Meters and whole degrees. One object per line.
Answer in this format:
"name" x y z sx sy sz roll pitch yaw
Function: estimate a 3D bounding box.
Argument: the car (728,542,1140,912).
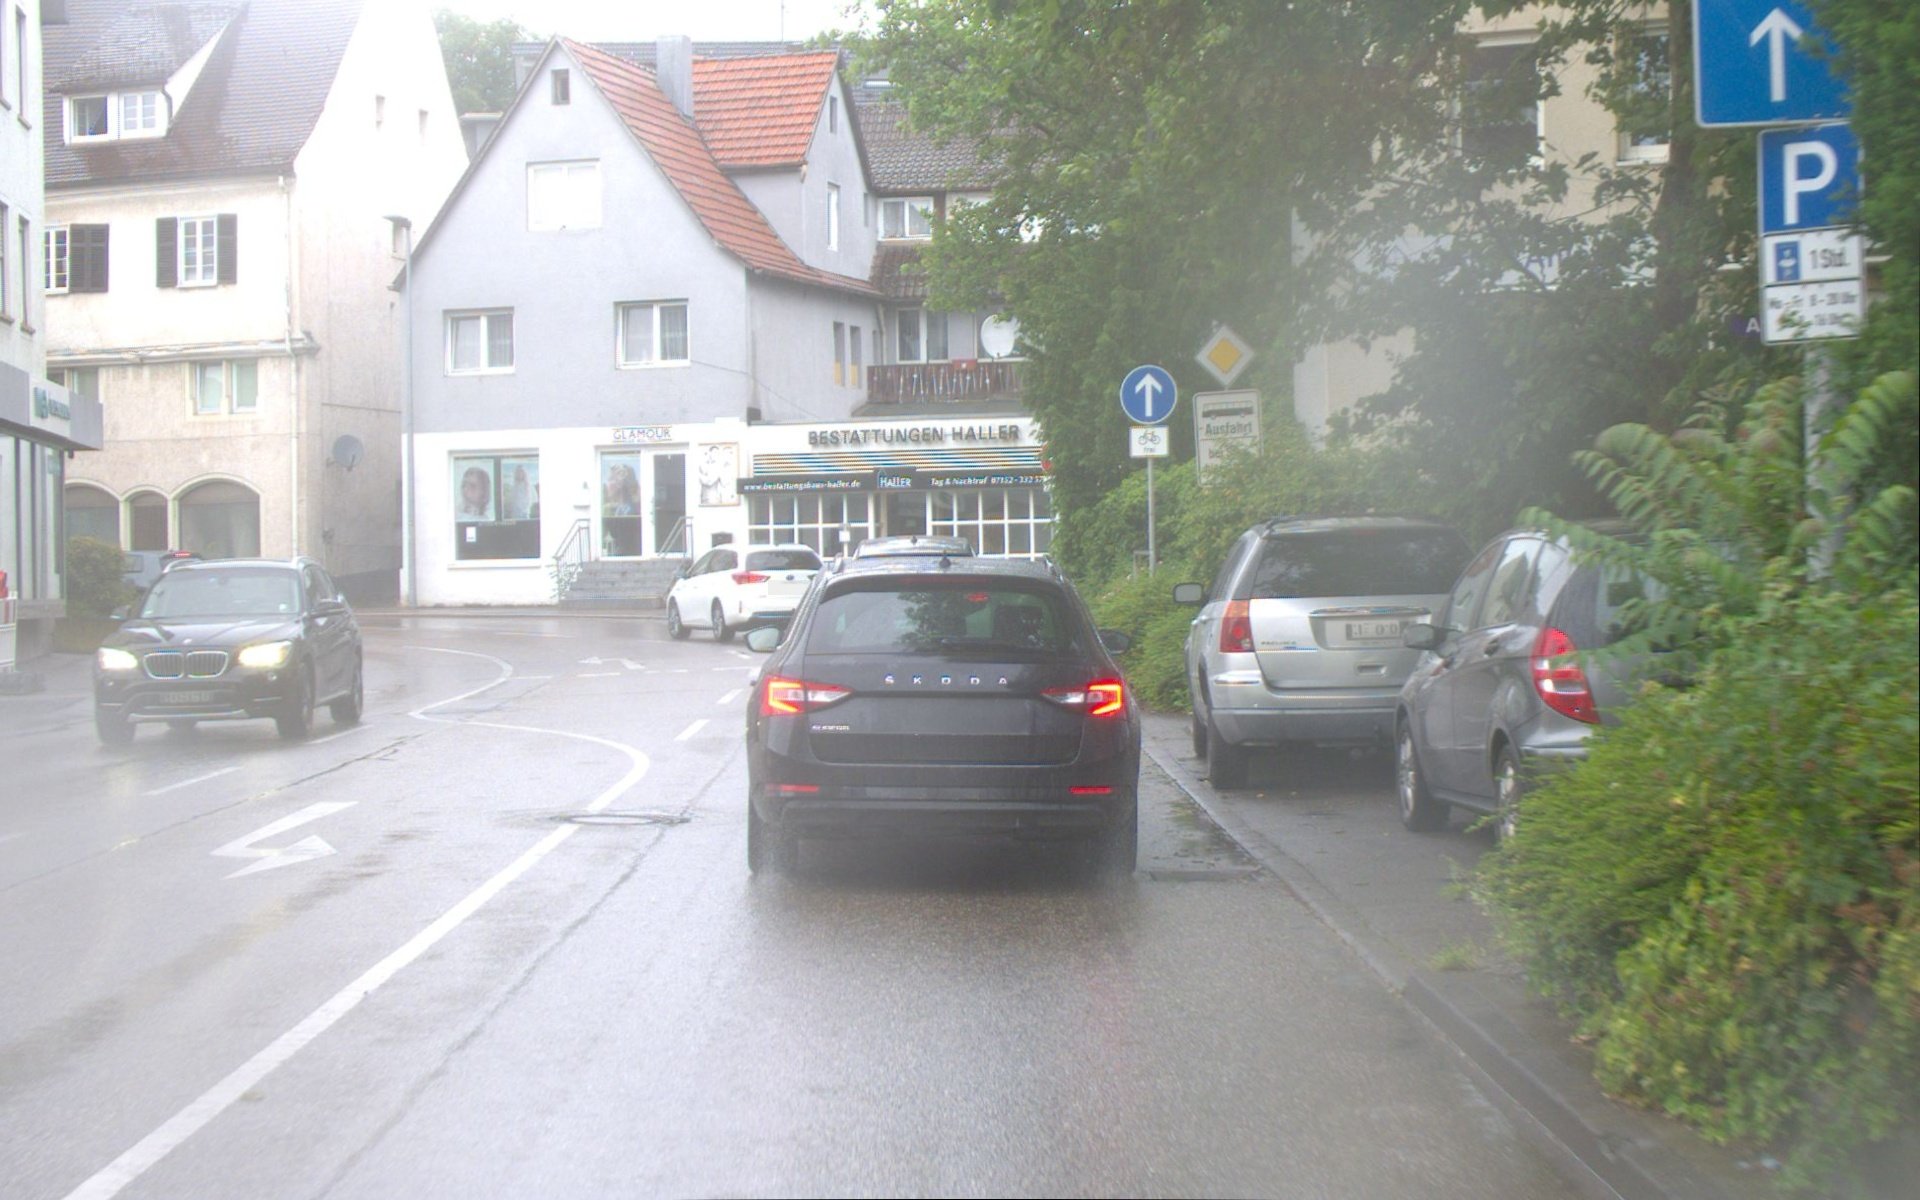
"car" -0.125 0.506 16.790 1.732 1.445 4.242 -1 2 0

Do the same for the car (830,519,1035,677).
"car" -0.236 -0.070 37.441 1.789 1.512 4.241 -2 2 5

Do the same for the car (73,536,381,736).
"car" -6.346 0.253 30.211 1.815 1.566 4.276 -2 1 -1

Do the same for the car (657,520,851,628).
"car" -3.174 -0.429 52.247 1.785 1.460 4.166 -2 3 -20

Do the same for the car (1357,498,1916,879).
"car" 3.115 0.331 16.617 1.709 1.567 3.915 -2 1 -3

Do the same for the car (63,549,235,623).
"car" -16.213 -0.298 68.658 3.765 1.357 1.520 2 4 44

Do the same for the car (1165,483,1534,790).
"car" 2.471 0.160 22.917 1.931 1.774 4.734 -2 1 1
